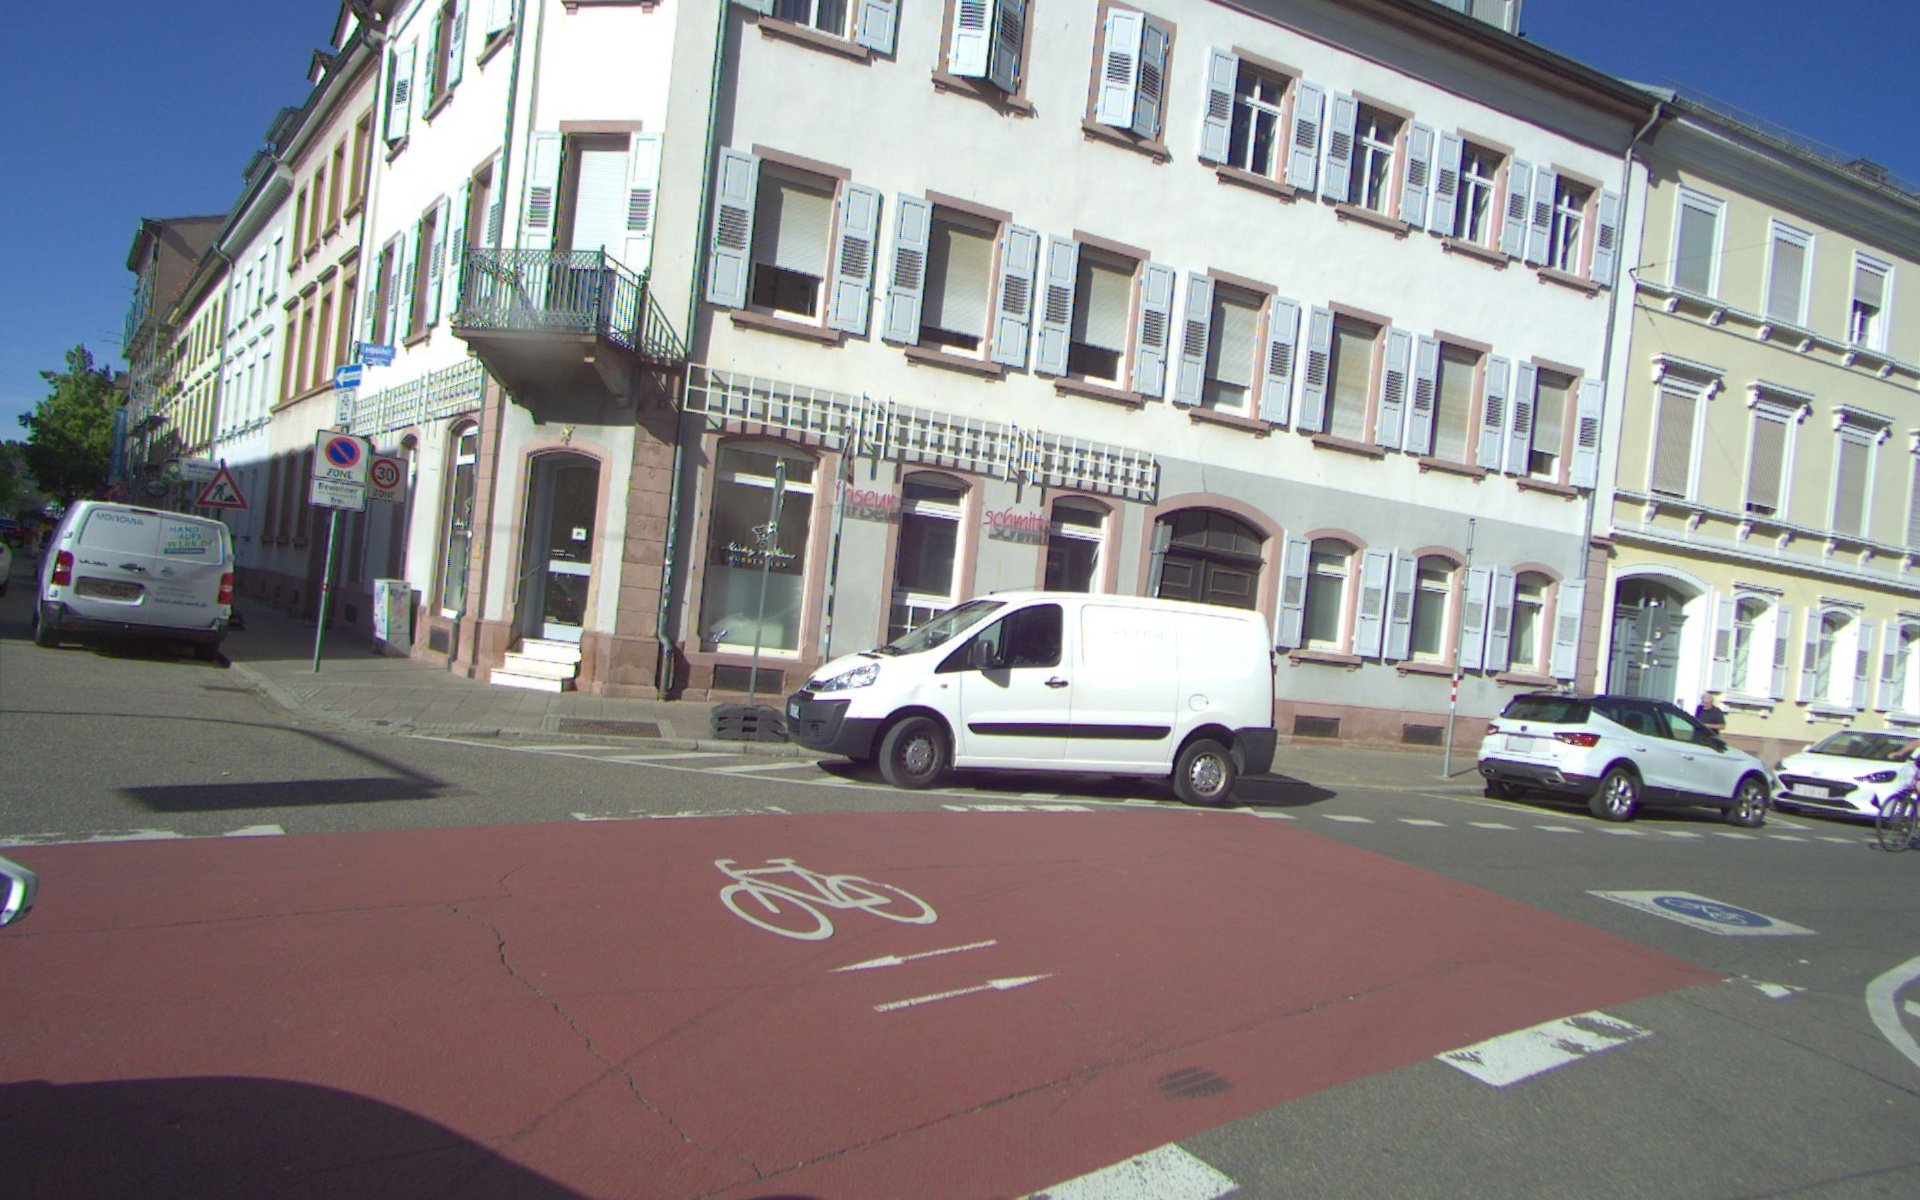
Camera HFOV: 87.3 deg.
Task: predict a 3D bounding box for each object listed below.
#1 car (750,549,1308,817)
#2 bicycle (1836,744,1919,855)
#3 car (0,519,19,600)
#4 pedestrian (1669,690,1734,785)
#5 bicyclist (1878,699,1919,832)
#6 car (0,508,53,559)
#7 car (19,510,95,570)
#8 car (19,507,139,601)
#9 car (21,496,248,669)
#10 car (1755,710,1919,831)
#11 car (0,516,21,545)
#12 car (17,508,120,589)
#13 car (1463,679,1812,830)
[{"bbox_3d":[0.637,0.833,9.917,4.952,1.969,2.043,7,-1,-19],"label":"car"},{"bbox_3d":[11.943,2.478,12.354,1.892,1.214,0.671,5,0,-10],"label":"bicycle"},{"bbox_3d":[-20.019,-0.950,19.920,1.824,1.475,3.916,7,-1,-42],"label":"car"},{"bbox_3d":[13.509,2.494,18.329,0.630,1.620,0.582,6,0,-21],"label":"pedestrian"},{"bbox_3d":[12.121,2.077,12.372,1.007,1.565,0.637,6,0,-9],"label":"bicyclist"},{"bbox_3d":[-40.265,-2.862,43.098,1.888,1.882,3.948,7,-1,-42],"label":"car"},{"bbox_3d":[-32.790,-2.184,36.587,1.886,1.883,3.949,5,0,-41],"label":"car"},{"bbox_3d":[-21.017,-1.116,24.025,1.888,1.882,3.948,7,-1,-42],"label":"car"},{"bbox_3d":[-11.761,-0.315,14.181,1.891,1.880,4.952,10,-3,-44],"label":"car"},{"bbox_3d":[14.709,2.736,15.945,3.588,1.559,1.626,7,-2,-21],"label":"car"},{"bbox_3d":[-50.412,-3.713,52.571,1.754,1.427,4.278,7,-1,-42],"label":"car"},{"bbox_3d":[-24.619,-1.441,27.819,1.888,1.882,3.948,7,-1,-42],"label":"car"},{"bbox_3d":[9.138,2.081,13.558,4.321,1.559,1.639,7,-2,-21],"label":"car"}]
